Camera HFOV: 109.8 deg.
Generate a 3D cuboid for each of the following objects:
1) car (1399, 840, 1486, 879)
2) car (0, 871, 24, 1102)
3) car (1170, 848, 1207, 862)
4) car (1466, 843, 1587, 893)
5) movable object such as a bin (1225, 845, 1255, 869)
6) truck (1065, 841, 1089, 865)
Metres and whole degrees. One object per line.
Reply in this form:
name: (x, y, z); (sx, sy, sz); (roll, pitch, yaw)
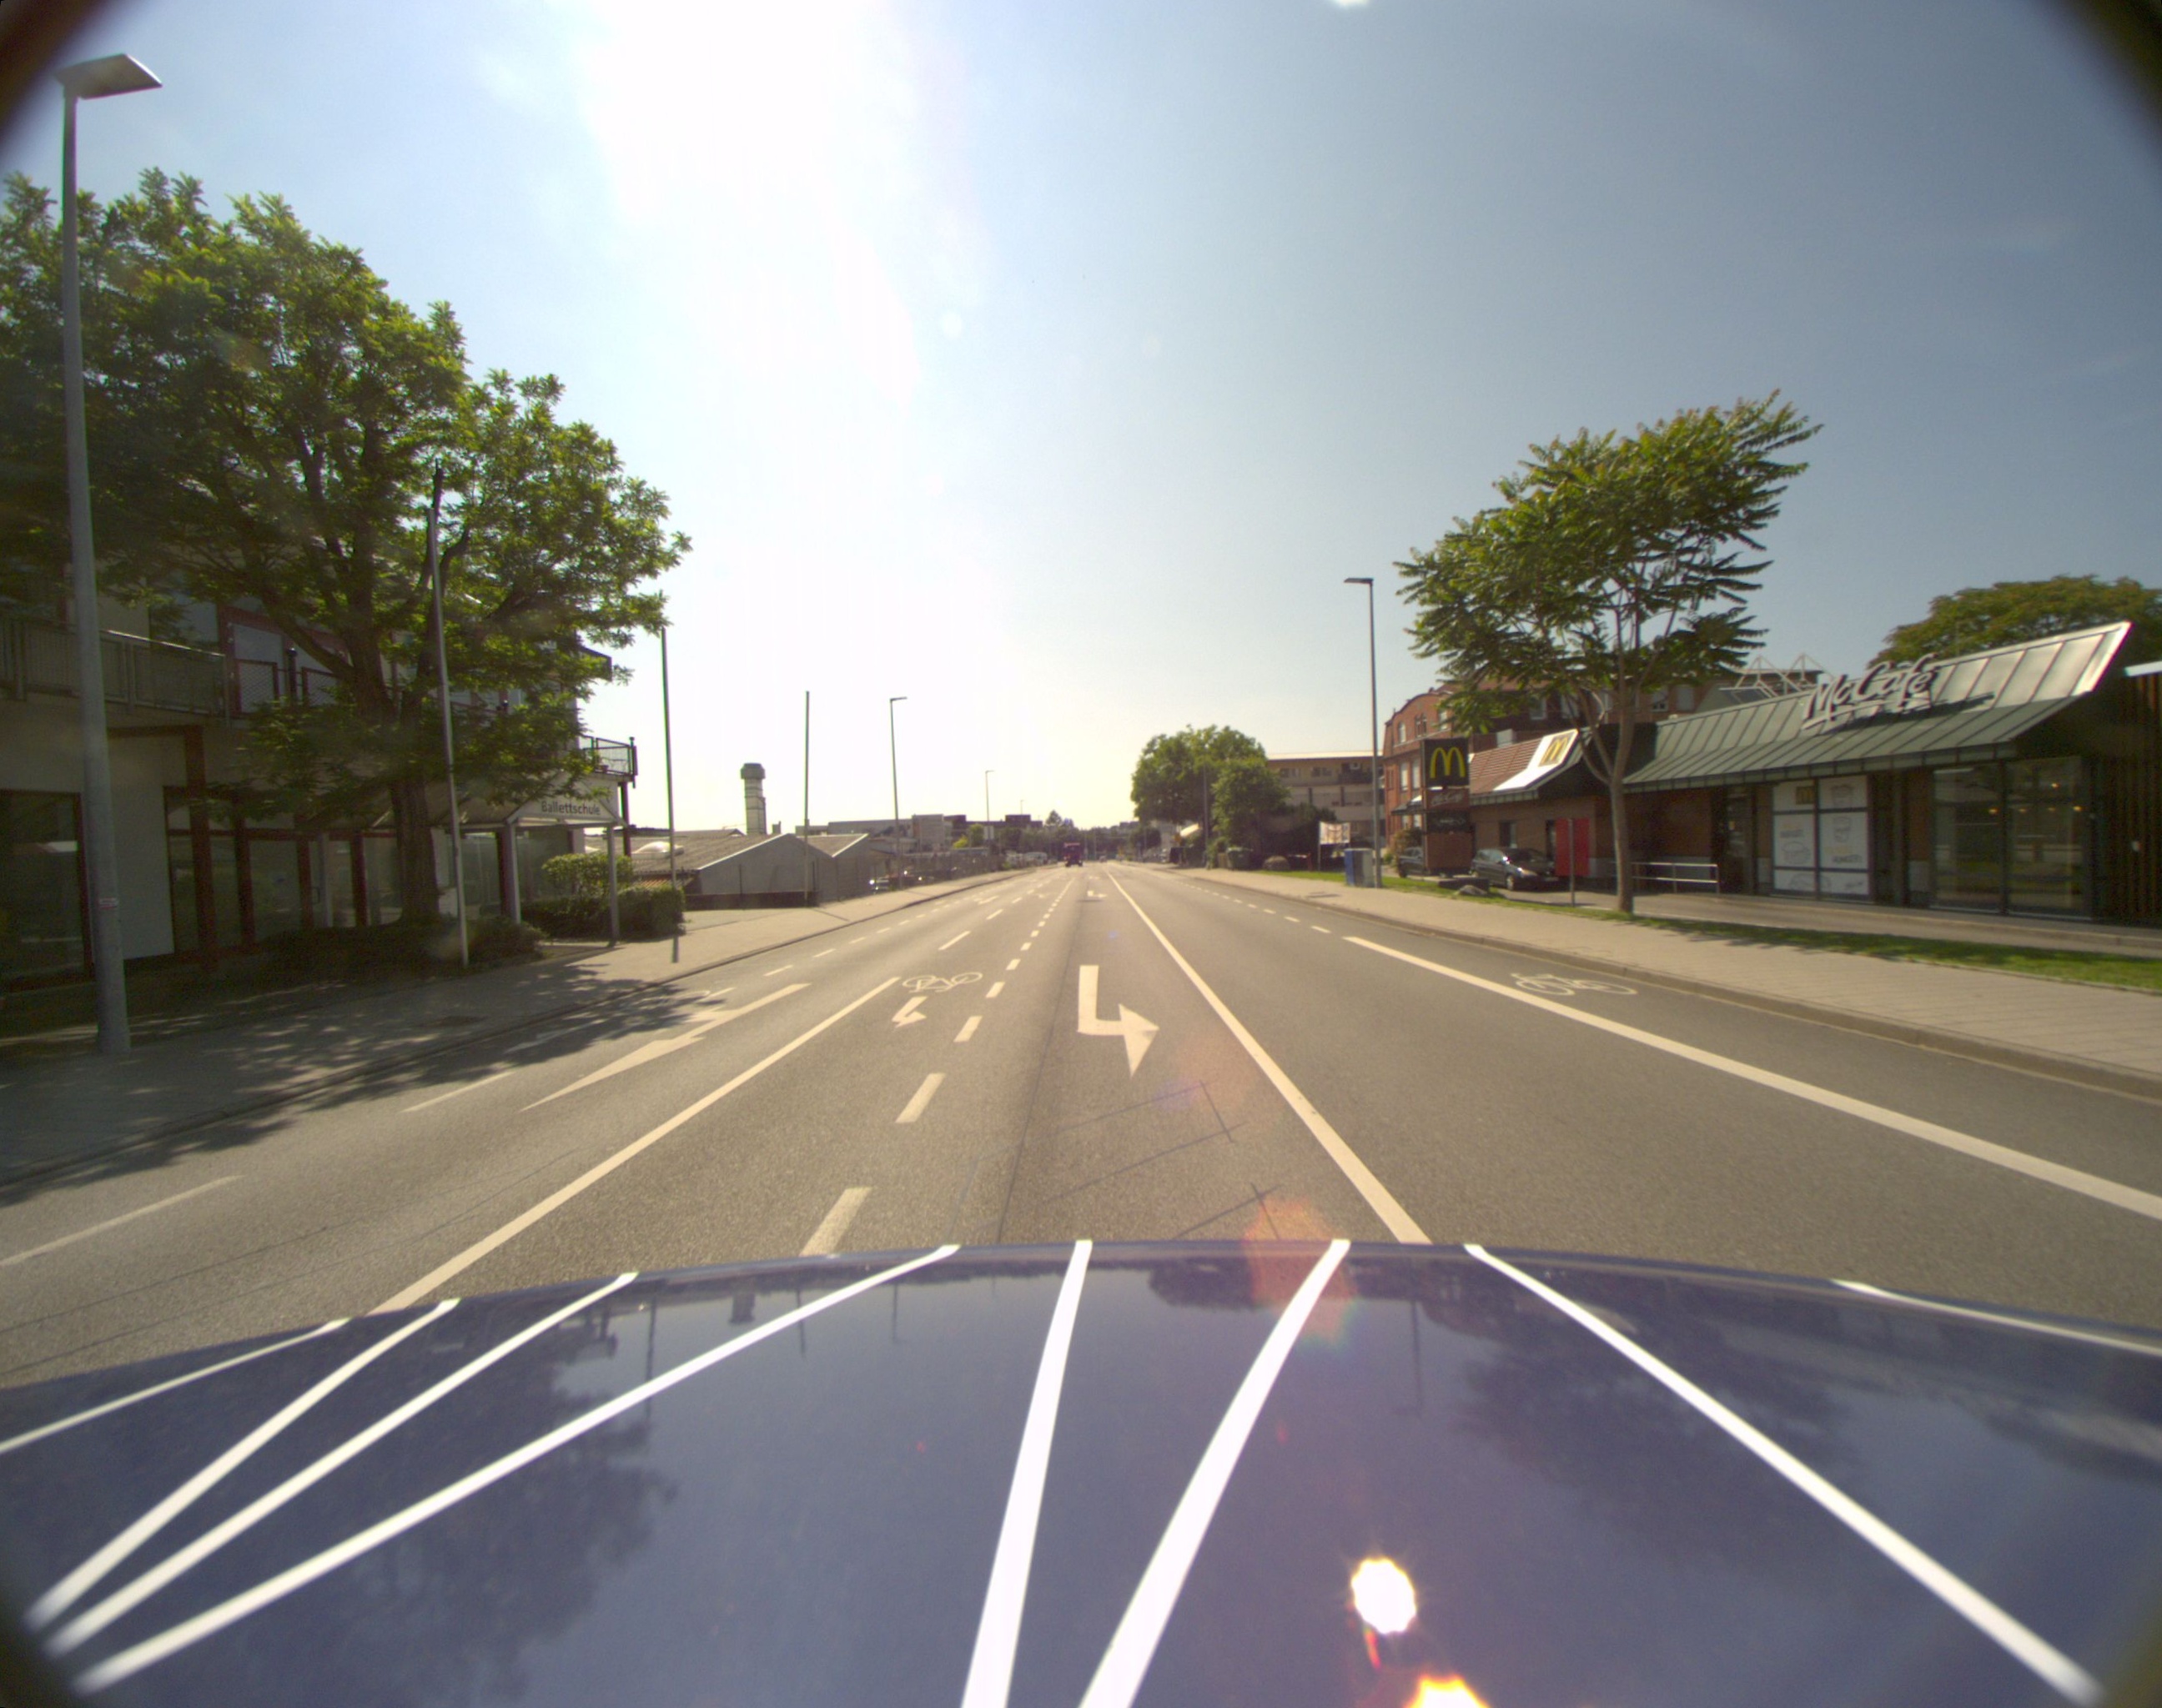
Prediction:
car: (15.747, 0.217, 33.339); (1.864, 1.543, 4.188); (-2, 1, 2)
car: (-11.002, 1.157, 5.294); (4.655, 1.845, 1.808); (-2, 1, 0)
car: (11.796, 0.088, 83.356); (3.903, 1.390, 1.652); (-2, 1, 5)
car: (15.454, 0.421, 26.660); (1.864, 1.543, 4.188); (-2, 1, 2)
movable object such as a bin: (9.761, 0.167, 46.708); (1.468, 1.403, 1.455); (-2, 1, 1)
truck: (-0.667, -0.281, 114.815); (3.312, 3.367, 9.165); (-3, 1, -1)
